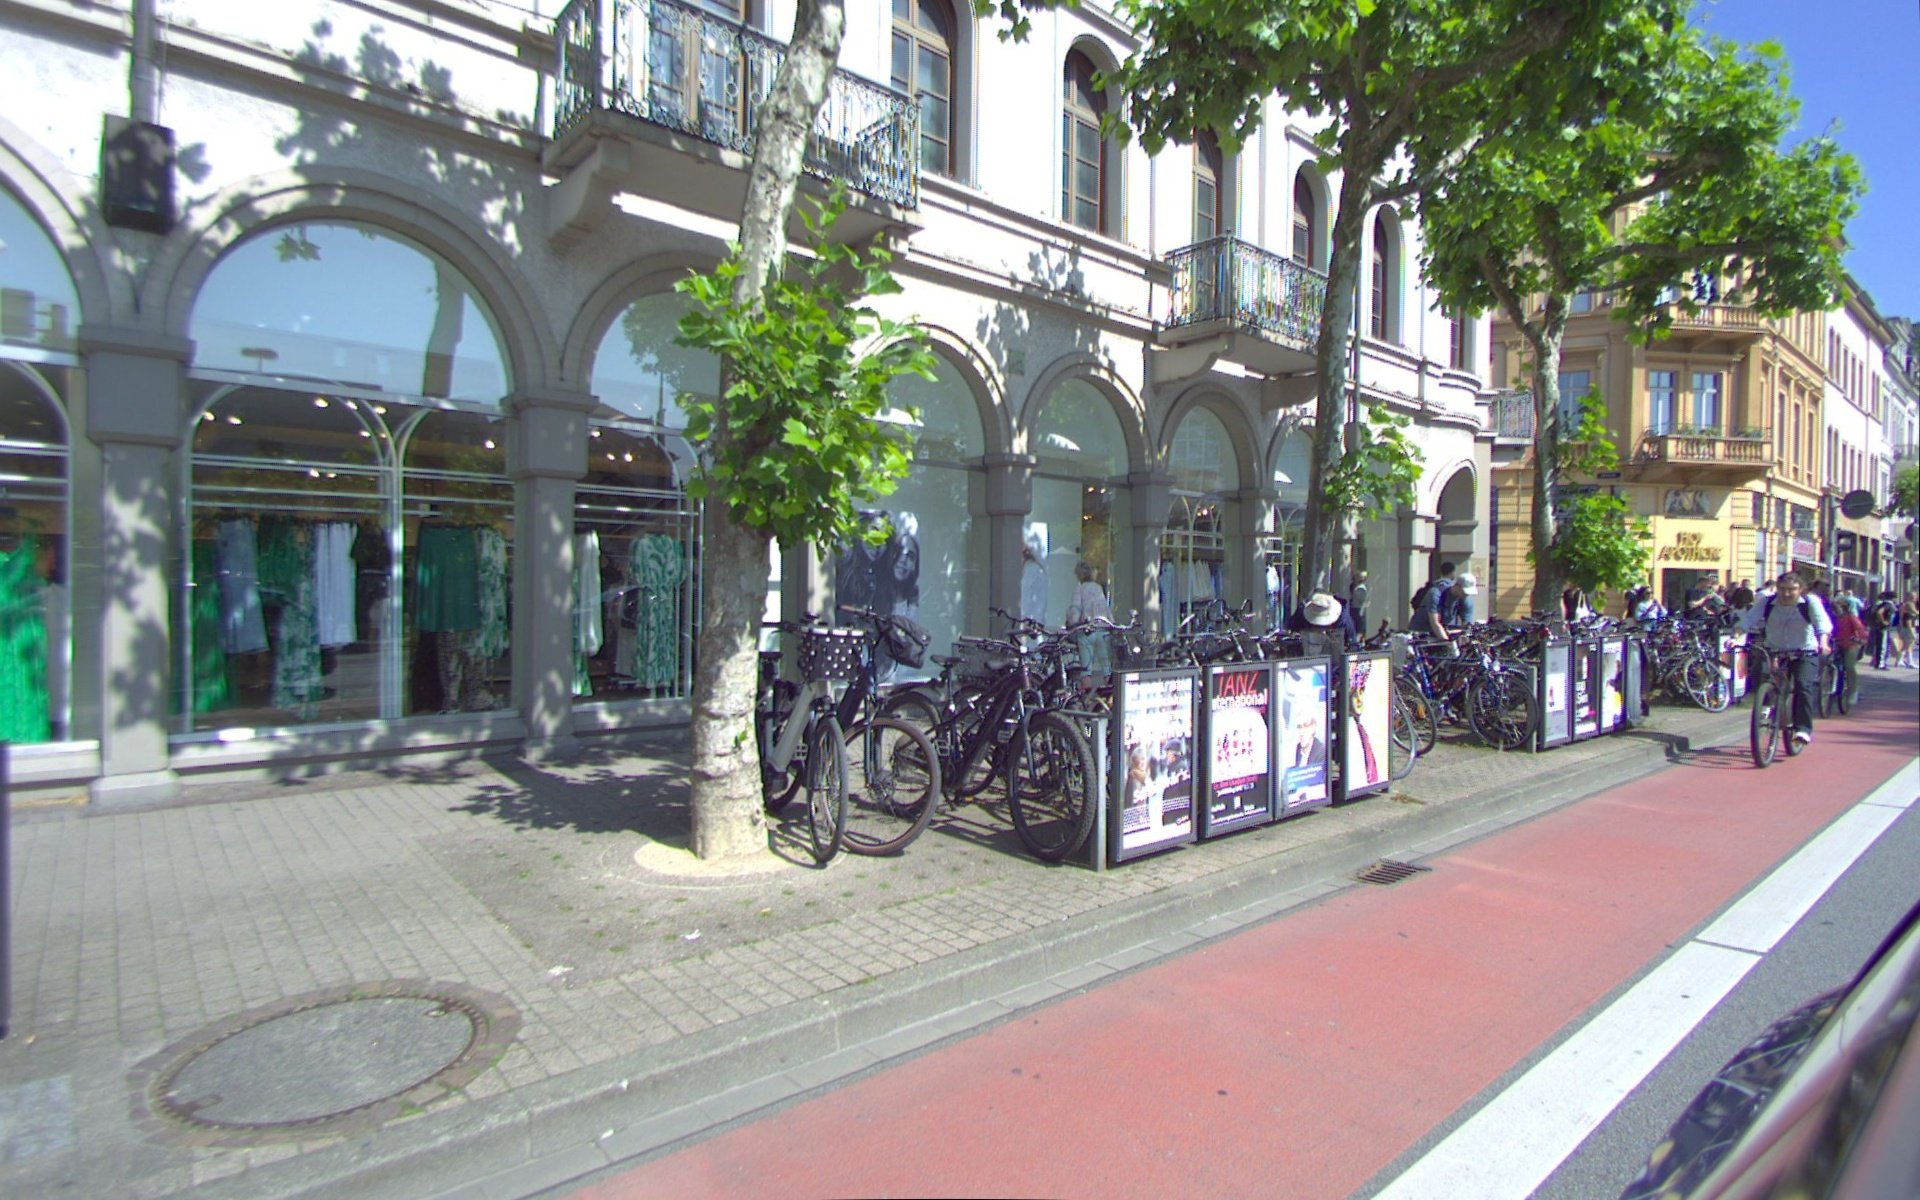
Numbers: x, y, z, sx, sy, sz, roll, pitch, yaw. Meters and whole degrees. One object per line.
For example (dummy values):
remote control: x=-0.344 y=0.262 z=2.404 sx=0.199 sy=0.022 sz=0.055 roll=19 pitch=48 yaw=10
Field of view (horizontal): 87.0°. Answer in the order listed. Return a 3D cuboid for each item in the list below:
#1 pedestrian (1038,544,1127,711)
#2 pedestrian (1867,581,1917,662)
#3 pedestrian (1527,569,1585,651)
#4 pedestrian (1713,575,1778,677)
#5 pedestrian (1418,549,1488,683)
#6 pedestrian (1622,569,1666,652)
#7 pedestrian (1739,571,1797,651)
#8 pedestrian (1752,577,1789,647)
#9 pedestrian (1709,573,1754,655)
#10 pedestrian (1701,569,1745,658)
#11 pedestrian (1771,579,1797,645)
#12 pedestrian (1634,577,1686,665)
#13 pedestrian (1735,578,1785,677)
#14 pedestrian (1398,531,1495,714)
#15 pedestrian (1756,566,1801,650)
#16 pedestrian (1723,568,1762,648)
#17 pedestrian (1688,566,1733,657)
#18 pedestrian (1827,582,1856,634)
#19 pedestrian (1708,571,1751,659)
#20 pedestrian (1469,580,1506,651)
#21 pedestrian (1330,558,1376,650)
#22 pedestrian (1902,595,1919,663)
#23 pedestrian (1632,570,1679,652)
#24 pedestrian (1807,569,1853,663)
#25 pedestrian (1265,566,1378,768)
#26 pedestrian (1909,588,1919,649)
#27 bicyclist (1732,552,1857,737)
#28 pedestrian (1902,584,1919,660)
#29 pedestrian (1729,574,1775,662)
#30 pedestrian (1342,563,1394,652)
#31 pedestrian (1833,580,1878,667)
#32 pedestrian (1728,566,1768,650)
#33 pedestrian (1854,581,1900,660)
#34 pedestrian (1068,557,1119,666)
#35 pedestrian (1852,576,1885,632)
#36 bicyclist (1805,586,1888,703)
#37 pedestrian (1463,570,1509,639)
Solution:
pedestrian: x=1.314 y=0.284 z=10.877 sx=0.664 sy=1.718 sz=0.658 roll=0 pitch=-1 yaw=-39
pedestrian: x=20.059 y=0.461 z=21.787 sx=0.572 sy=1.706 sz=0.721 roll=-1 pitch=-1 yaw=26
pedestrian: x=13.282 y=0.211 z=22.557 sx=1.163 sy=1.780 sz=0.622 roll=0 pitch=-1 yaw=-33
pedestrian: x=13.429 y=0.436 z=17.319 sx=0.567 sy=1.706 sz=0.622 roll=-1 pitch=-1 yaw=-5
pedestrian: x=6.944 y=0.221 z=14.255 sx=0.764 sy=1.816 sz=0.634 roll=0 pitch=-1 yaw=-43
pedestrian: x=15.359 y=0.231 z=22.731 sx=0.687 sy=1.827 sz=0.649 roll=0 pitch=-1 yaw=-42
pedestrian: x=19.228 y=0.268 z=24.096 sx=0.838 sy=1.869 sz=0.623 roll=-1 pitch=-1 yaw=-2
pedestrian: x=21.822 y=0.316 z=27.252 sx=0.594 sy=1.837 sz=0.578 roll=0 pitch=3 yaw=-37
pedestrian: x=17.934 y=0.311 z=23.526 sx=0.611 sy=1.869 sz=0.664 roll=0 pitch=-1 yaw=-40
pedestrian: x=15.289 y=0.268 z=20.273 sx=0.612 sy=1.746 sz=0.577 roll=0 pitch=-1 yaw=-44
pedestrian: x=21.551 y=0.313 z=26.471 sx=0.470 sy=1.710 sz=0.444 roll=0 pitch=1 yaw=-40
pedestrian: x=13.049 y=0.391 z=18.879 sx=0.571 sy=1.604 sz=0.518 roll=-1 pitch=-1 yaw=-1
pedestrian: x=14.215 y=0.471 z=17.982 sx=0.762 sy=1.706 sz=0.577 roll=0 pitch=-1 yaw=-44
pedestrian: x=5.387 y=0.239 z=11.203 sx=0.764 sy=1.926 sz=0.701 roll=0 pitch=-1 yaw=-43
pedestrian: x=18.582 y=0.183 z=22.971 sx=0.612 sy=1.882 sz=0.685 roll=0 pitch=-1 yaw=-44
pedestrian: x=18.593 y=0.181 z=24.045 sx=0.611 sy=1.869 sz=0.577 roll=0 pitch=-1 yaw=-40
pedestrian: x=14.394 y=0.220 z=19.404 sx=0.612 sy=1.706 sz=0.577 roll=0 pitch=-1 yaw=-44
pedestrian: x=29.347 y=0.250 z=33.717 sx=0.684 sy=1.706 sz=0.570 roll=1 pitch=0 yaw=39
pedestrian: x=15.760 y=0.304 z=20.719 sx=0.612 sy=1.762 sz=0.577 roll=0 pitch=-1 yaw=-44
pedestrian: x=13.478 y=0.385 z=25.859 sx=0.687 sy=1.777 sz=0.577 roll=0 pitch=-1 yaw=-40
pedestrian: x=7.819 y=0.077 z=20.167 sx=0.594 sy=1.787 sz=0.623 roll=-1 pitch=-1 yaw=-6
pedestrian: x=22.038 y=0.657 z=23.115 sx=0.668 sy=1.515 sz=0.629 roll=0 pitch=1 yaw=35
pedestrian: x=15.971 y=0.248 z=23.263 sx=0.611 sy=1.840 sz=0.631 roll=-1 pitch=-1 yaw=6
pedestrian: x=17.175 y=0.301 z=19.967 sx=0.688 sy=1.807 sz=0.577 roll=0 pitch=2 yaw=-44
pedestrian: x=2.944 y=0.516 z=8.251 sx=0.655 sy=1.558 sz=0.605 roll=0 pitch=-1 yaw=-42
pedestrian: x=27.217 y=0.517 z=28.498 sx=0.575 sy=1.705 sz=0.668 roll=3 pitch=2 yaw=37
bicyclist: x=7.626 y=0.385 z=9.248 sx=0.765 sy=1.597 sz=0.749 roll=0 pitch=-1 yaw=-42
pedestrian: x=22.589 y=0.528 z=23.768 sx=0.576 sy=1.752 sz=0.708 roll=4 pitch=1 yaw=42
pedestrian: x=14.819 y=0.333 z=18.938 sx=0.612 sy=1.604 sz=0.577 roll=0 pitch=-1 yaw=-44
pedestrian: x=7.835 y=0.142 z=19.442 sx=0.673 sy=1.689 sz=0.623 roll=-1 pitch=-1 yaw=-6
pedestrian: x=18.221 y=0.463 z=20.599 sx=0.658 sy=1.705 sz=0.577 roll=0 pitch=2 yaw=-44
pedestrian: x=17.370 y=0.175 z=22.304 sx=0.685 sy=1.825 sz=0.577 roll=0 pitch=-1 yaw=-44
pedestrian: x=20.790 y=0.451 z=22.959 sx=0.599 sy=1.757 sz=0.642 roll=0 pitch=1 yaw=27
pedestrian: x=1.953 y=0.164 z=14.781 sx=0.502 sy=1.553 sz=0.531 roll=-2 pitch=-1 yaw=42
pedestrian: x=29.799 y=0.115 z=33.187 sx=0.754 sy=1.815 sz=0.847 roll=1 pitch=0 yaw=40
bicyclist: x=11.219 y=0.539 z=12.806 sx=0.765 sy=1.414 sz=0.689 roll=0 pitch=-1 yaw=-42
pedestrian: x=12.887 y=0.114 z=24.801 sx=0.611 sy=1.668 sz=0.797 roll=0 pitch=-1 yaw=-40
